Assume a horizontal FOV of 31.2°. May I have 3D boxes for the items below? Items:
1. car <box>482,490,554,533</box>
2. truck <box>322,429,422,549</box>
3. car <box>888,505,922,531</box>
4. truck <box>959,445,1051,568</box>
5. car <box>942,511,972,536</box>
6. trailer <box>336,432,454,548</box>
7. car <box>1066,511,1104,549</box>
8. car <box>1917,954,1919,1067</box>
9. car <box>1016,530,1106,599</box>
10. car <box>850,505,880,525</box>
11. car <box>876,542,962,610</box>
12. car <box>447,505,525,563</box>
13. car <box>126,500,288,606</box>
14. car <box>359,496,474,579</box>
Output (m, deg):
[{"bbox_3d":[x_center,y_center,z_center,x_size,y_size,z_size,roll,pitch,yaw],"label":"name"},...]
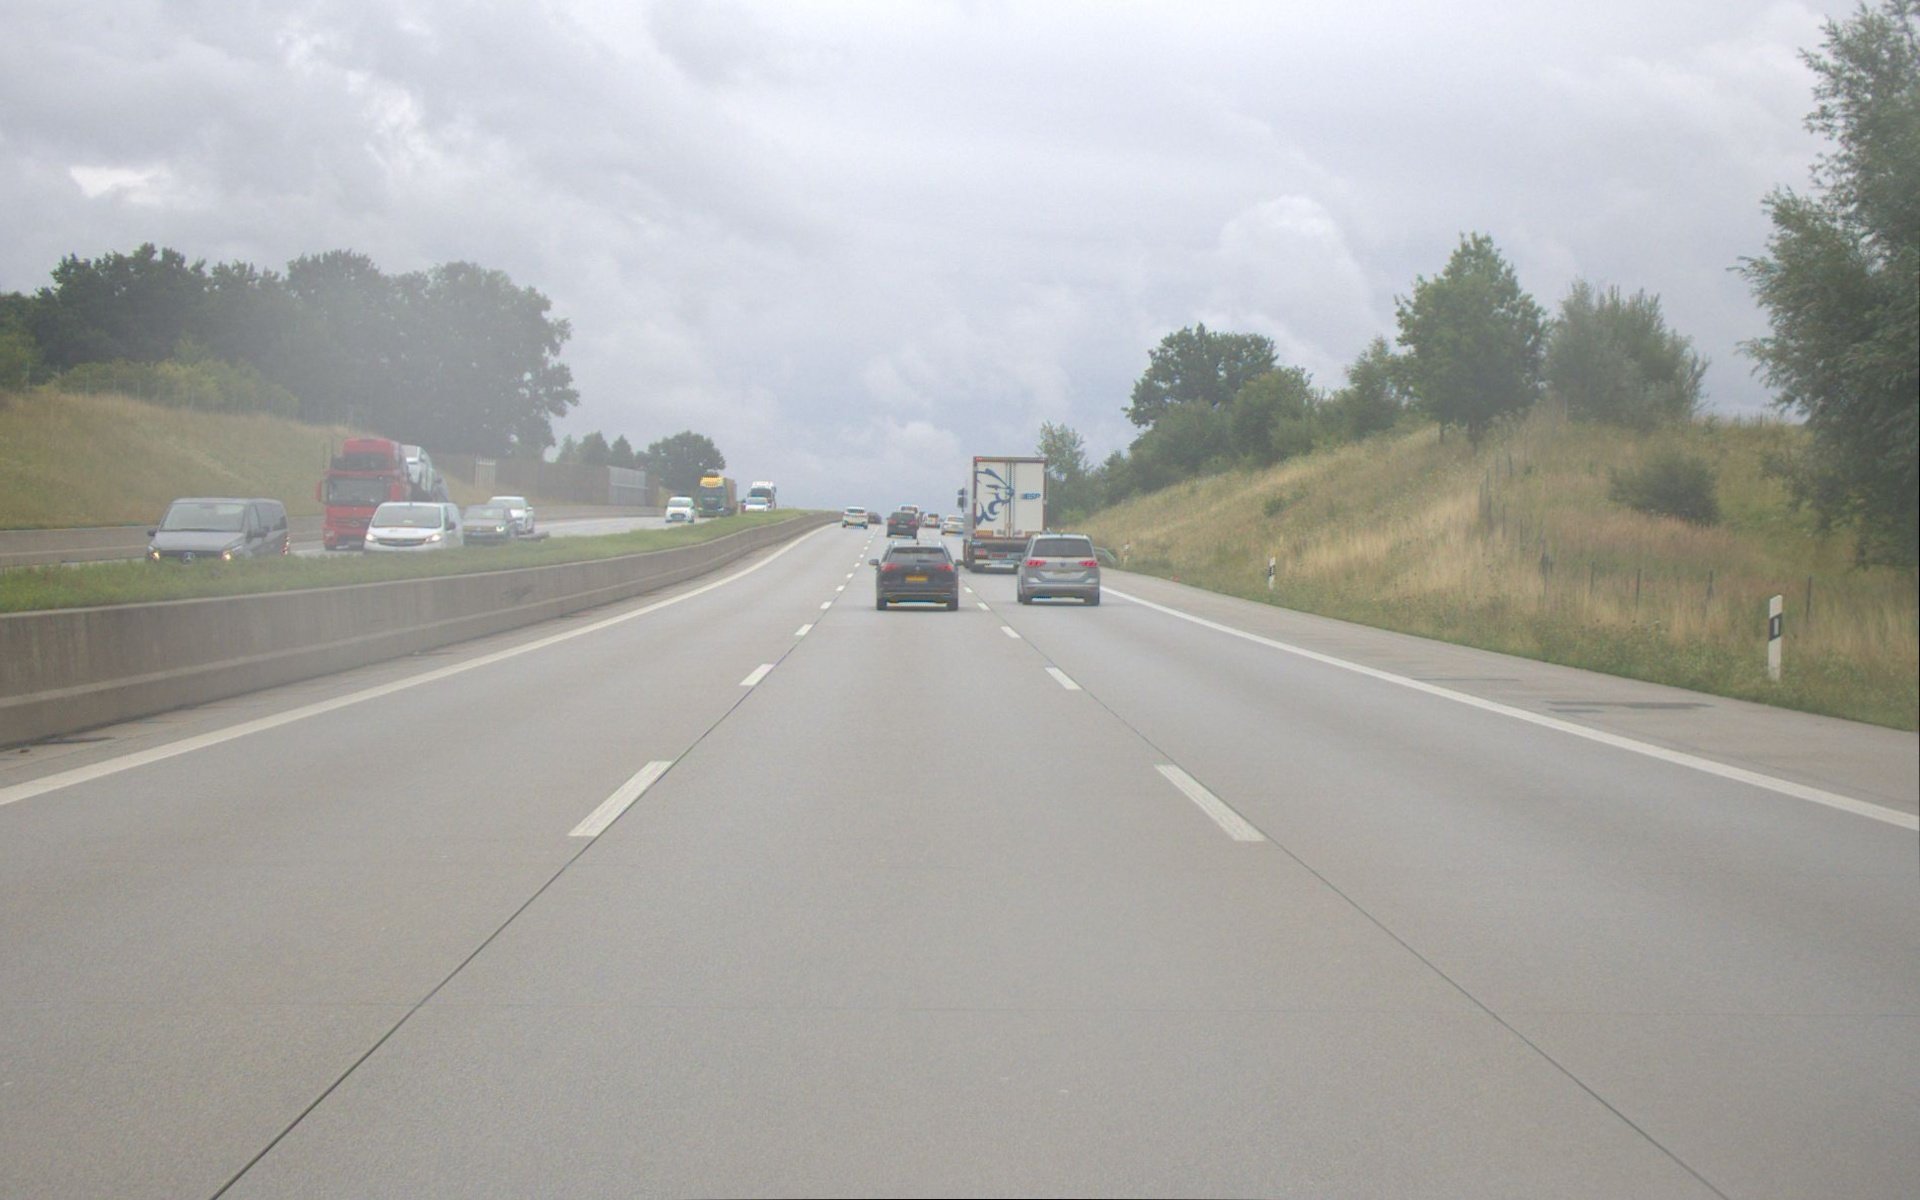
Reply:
[{"bbox_3d":[-17.074,-3.456,133.064,2.148,1.546,5.350,1,2,-1],"label":"car"},{"bbox_3d":[-21.595,-4.032,126.570,2.552,4.237,7.465,1,1,-2],"label":"truck"},{"bbox_3d":[-3.380,-5.043,211.625,1.935,1.370,4.594,1,0,1],"label":"car"},{"bbox_3d":[1.533,-3.273,122.333,3.017,4.166,8.354,1,1,-1],"label":"truck"},{"bbox_3d":[-0.233,-5.417,243.895,1.993,1.634,4.000,1,1,1],"label":"car"},{"bbox_3d":[-21.746,-4.166,133.110,2.552,4.203,13.990,1,1,-1],"label":"trailer"},{"bbox_3d":[6.819,-3.798,187.780,1.993,2.007,4.000,1,1,1],"label":"car"},{"bbox_3d":[3.677,0.572,7.857,1.825,1.650,3.985,1,1,0],"label":"car"},{"bbox_3d":[2.322,-0.830,79.337,1.993,1.525,4.000,1,1,1],"label":"car"},{"bbox_3d":[-6.868,-6.164,248.878,1.947,1.351,4.259,1,1,0],"label":"car"},{"bbox_3d":[-0.900,-0.504,73.331,1.752,1.393,4.484,1,0,-2],"label":"car"},{"bbox_3d":[-17.155,-2.382,124.660,2.148,2.007,5.749,1,1,-1],"label":"car"},{"bbox_3d":[-14.316,-0.930,65.662,1.993,1.913,5.346,1,1,-1],"label":"car"},{"bbox_3d":[-12.985,-1.501,82.493,1.993,1.880,5.513,1,1,-2],"label":"car"}]
